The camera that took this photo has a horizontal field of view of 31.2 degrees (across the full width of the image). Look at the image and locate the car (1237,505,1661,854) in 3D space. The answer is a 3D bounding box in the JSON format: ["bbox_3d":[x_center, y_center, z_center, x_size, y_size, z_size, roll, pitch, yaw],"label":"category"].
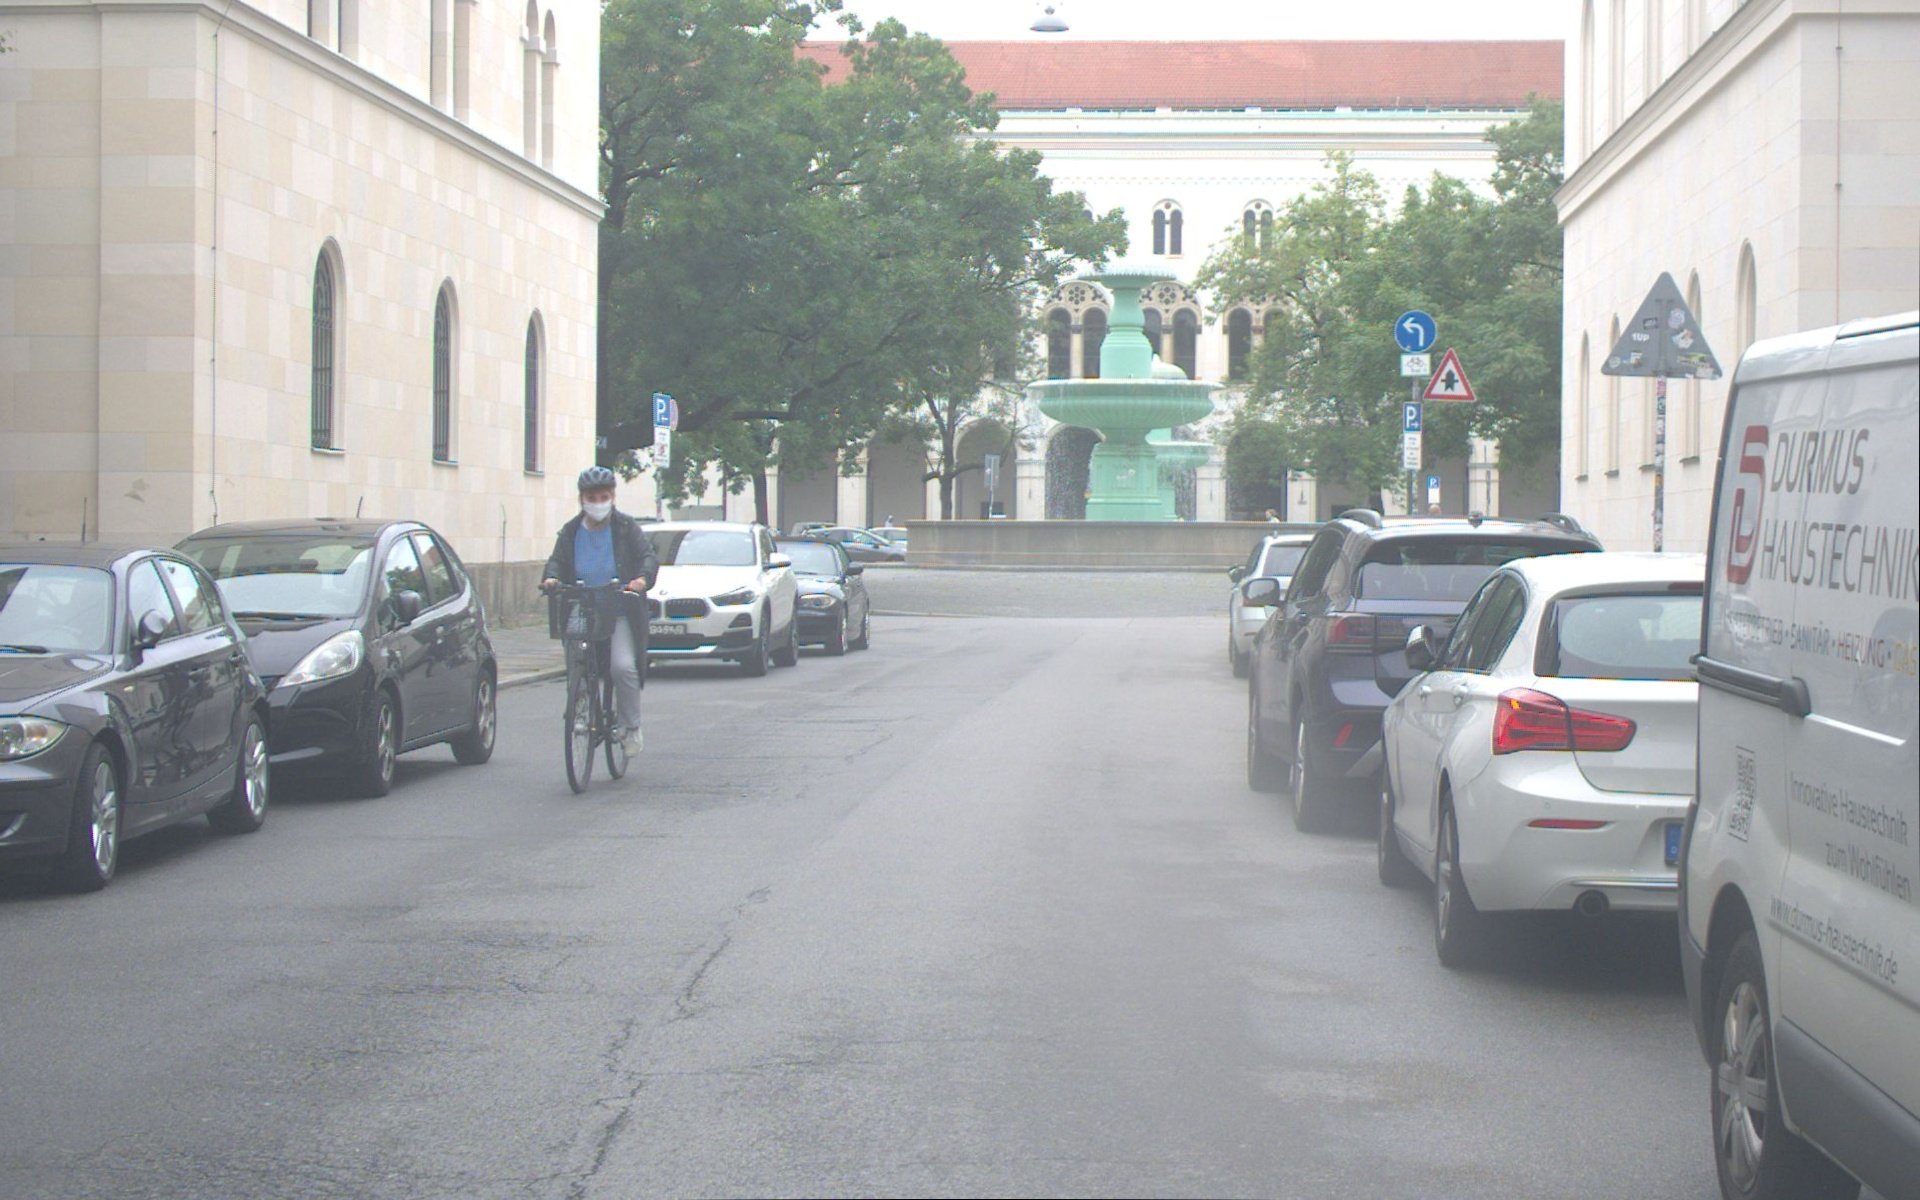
[{"bbox_3d":[2.434,0.323,17.990,1.747,1.588,3.956,1,1,2],"label":"car"}]

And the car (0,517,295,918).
[{"bbox_3d":[-4.256,0.412,15.053,1.750,1.448,4.015,-1,2,2],"label":"car"}]

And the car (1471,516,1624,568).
[{"bbox_3d":[17.493,-1.744,102.492,4.358,1.519,1.803,0,1,6],"label":"car"}]

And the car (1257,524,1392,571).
[{"bbox_3d":[10.936,-1.576,102.992,3.988,1.398,1.824,0,1,7],"label":"car"}]

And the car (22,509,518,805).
[{"bbox_3d":[-3.834,0.246,19.808,1.751,1.448,4.015,-1,2,4],"label":"car"}]

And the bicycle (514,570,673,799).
[{"bbox_3d":[-2.042,0.442,19.373,0.648,1.193,1.950,0,1,1],"label":"bicycle"}]

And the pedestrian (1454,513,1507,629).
[{"bbox_3d":[7.633,-0.430,50.437,0.620,1.676,0.546,2,2,-2],"label":"pedestrian"}]

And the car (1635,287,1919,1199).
[{"bbox_3d":[2.494,0.458,5.577,1.882,1.917,4.875,0,2,1],"label":"car"}]

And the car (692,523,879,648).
[{"bbox_3d":[-2.031,-0.192,41.186,1.699,1.388,4.211,-1,1,4],"label":"car"}]

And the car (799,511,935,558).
[{"bbox_3d":[-2.795,-1.996,103.971,3.987,1.371,2.000,0,2,3],"label":"car"}]

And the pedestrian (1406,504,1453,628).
[{"bbox_3d":[6.859,-0.500,50.182,0.642,1.802,0.489,1,2,10],"label":"pedestrian"}]

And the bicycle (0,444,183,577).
[{"bbox_3d":[-7.847,-0.795,30.762,1.713,1.174,0.475,0,1,14],"label":"bicycle"}]

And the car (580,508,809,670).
[{"bbox_3d":[-2.650,-0.133,35.212,1.778,1.529,4.211,-1,1,3],"label":"car"}]

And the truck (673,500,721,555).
[{"bbox_3d":[-12.203,-3.382,159.510,1.993,2.480,4.001,1,2,-7],"label":"truck"}]

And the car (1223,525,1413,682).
[{"bbox_3d":[3.643,-0.014,35.453,1.789,1.471,4.312,1,1,5],"label":"car"}]

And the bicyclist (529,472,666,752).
[{"bbox_3d":[-2.042,0.057,19.427,0.657,1.545,0.887,0,1,2],"label":"bicyclist"}]

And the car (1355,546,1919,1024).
[{"bbox_3d":[2.483,0.546,12.833,1.673,1.412,4.201,1,2,2],"label":"car"}]
